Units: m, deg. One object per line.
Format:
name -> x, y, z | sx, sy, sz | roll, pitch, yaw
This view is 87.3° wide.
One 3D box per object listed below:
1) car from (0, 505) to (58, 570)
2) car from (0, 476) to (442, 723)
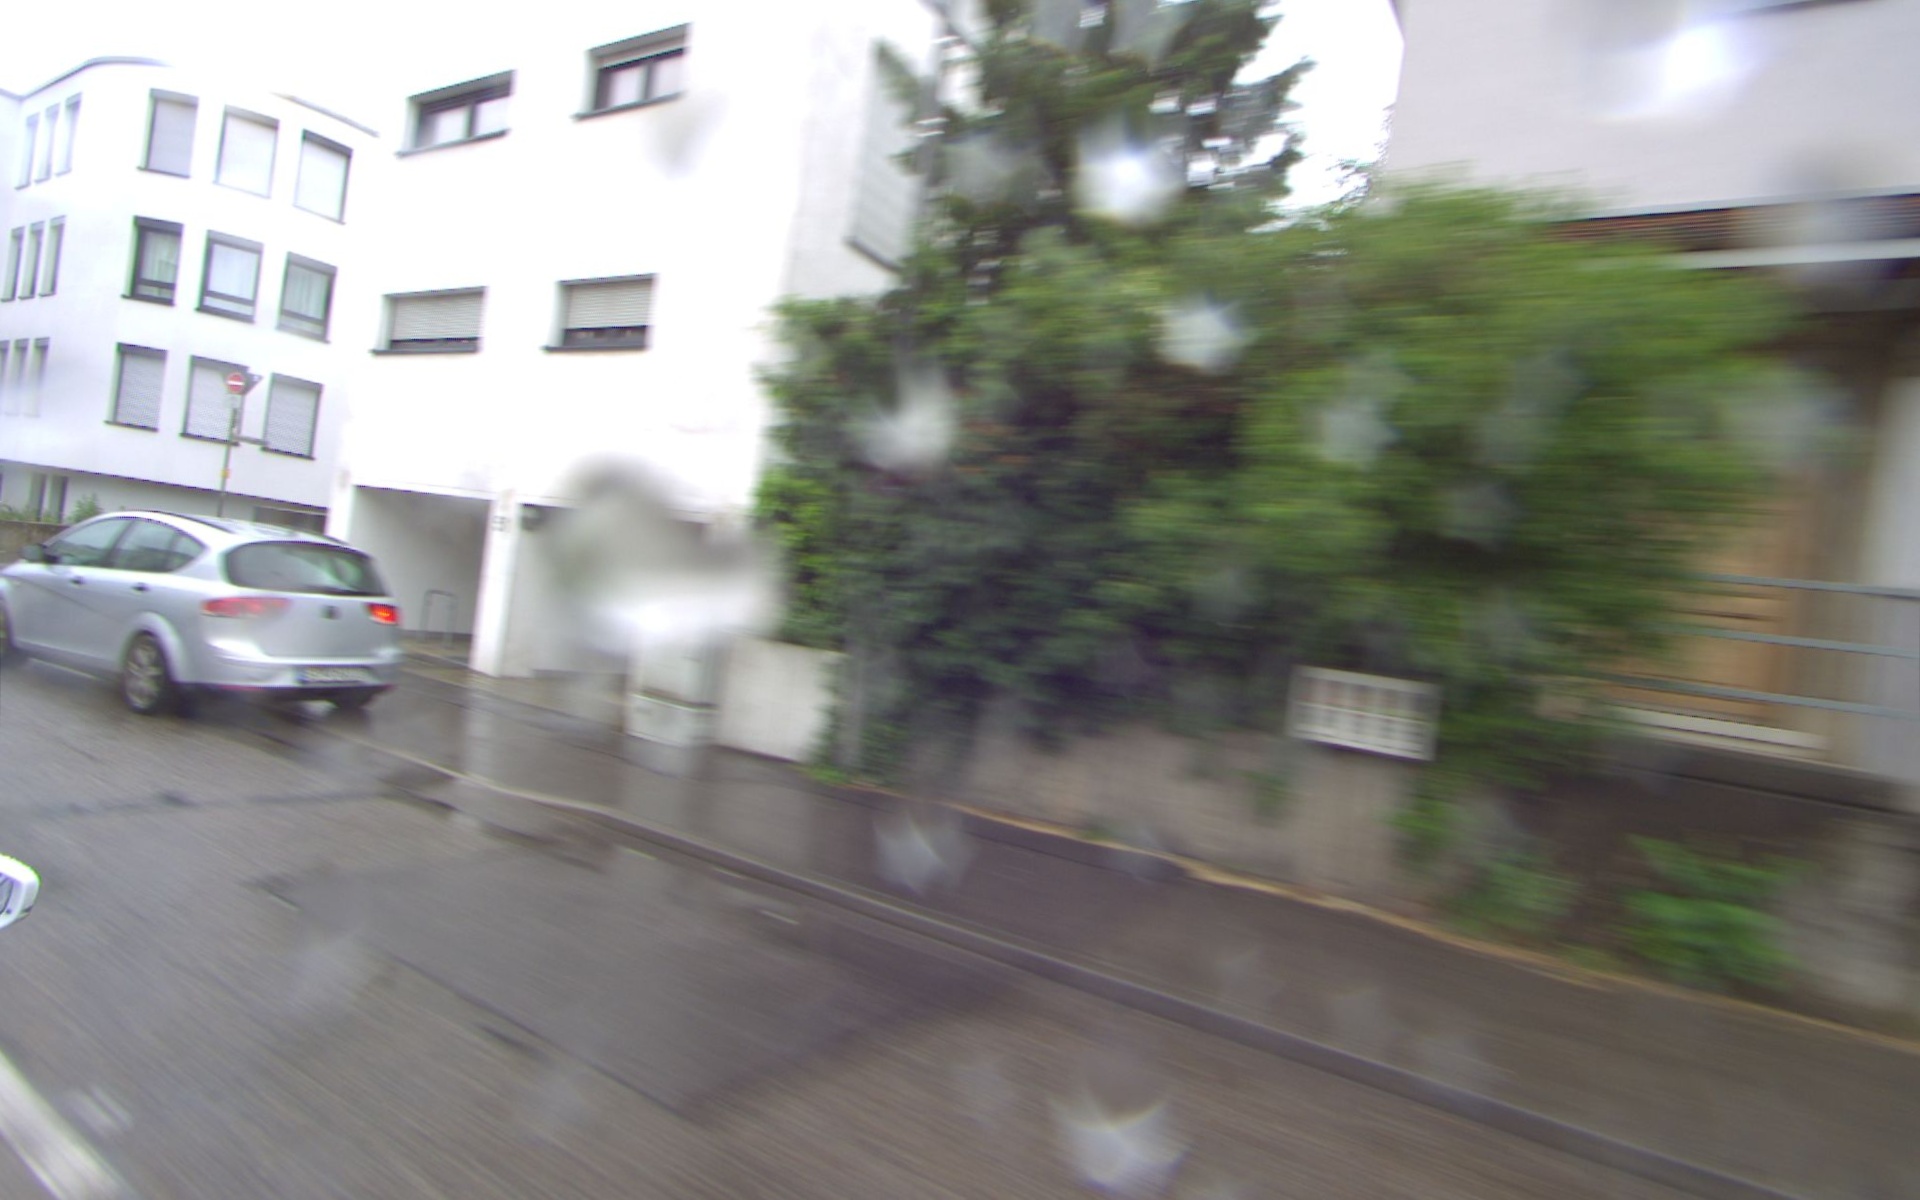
car -> -27.545, -2.086, 27.455 | 1.789, 1.543, 3.810 | 8, -7, 31
car -> -6.791, -0.048, 8.667 | 4.287, 1.640, 2.016 | 4, -2, 30
